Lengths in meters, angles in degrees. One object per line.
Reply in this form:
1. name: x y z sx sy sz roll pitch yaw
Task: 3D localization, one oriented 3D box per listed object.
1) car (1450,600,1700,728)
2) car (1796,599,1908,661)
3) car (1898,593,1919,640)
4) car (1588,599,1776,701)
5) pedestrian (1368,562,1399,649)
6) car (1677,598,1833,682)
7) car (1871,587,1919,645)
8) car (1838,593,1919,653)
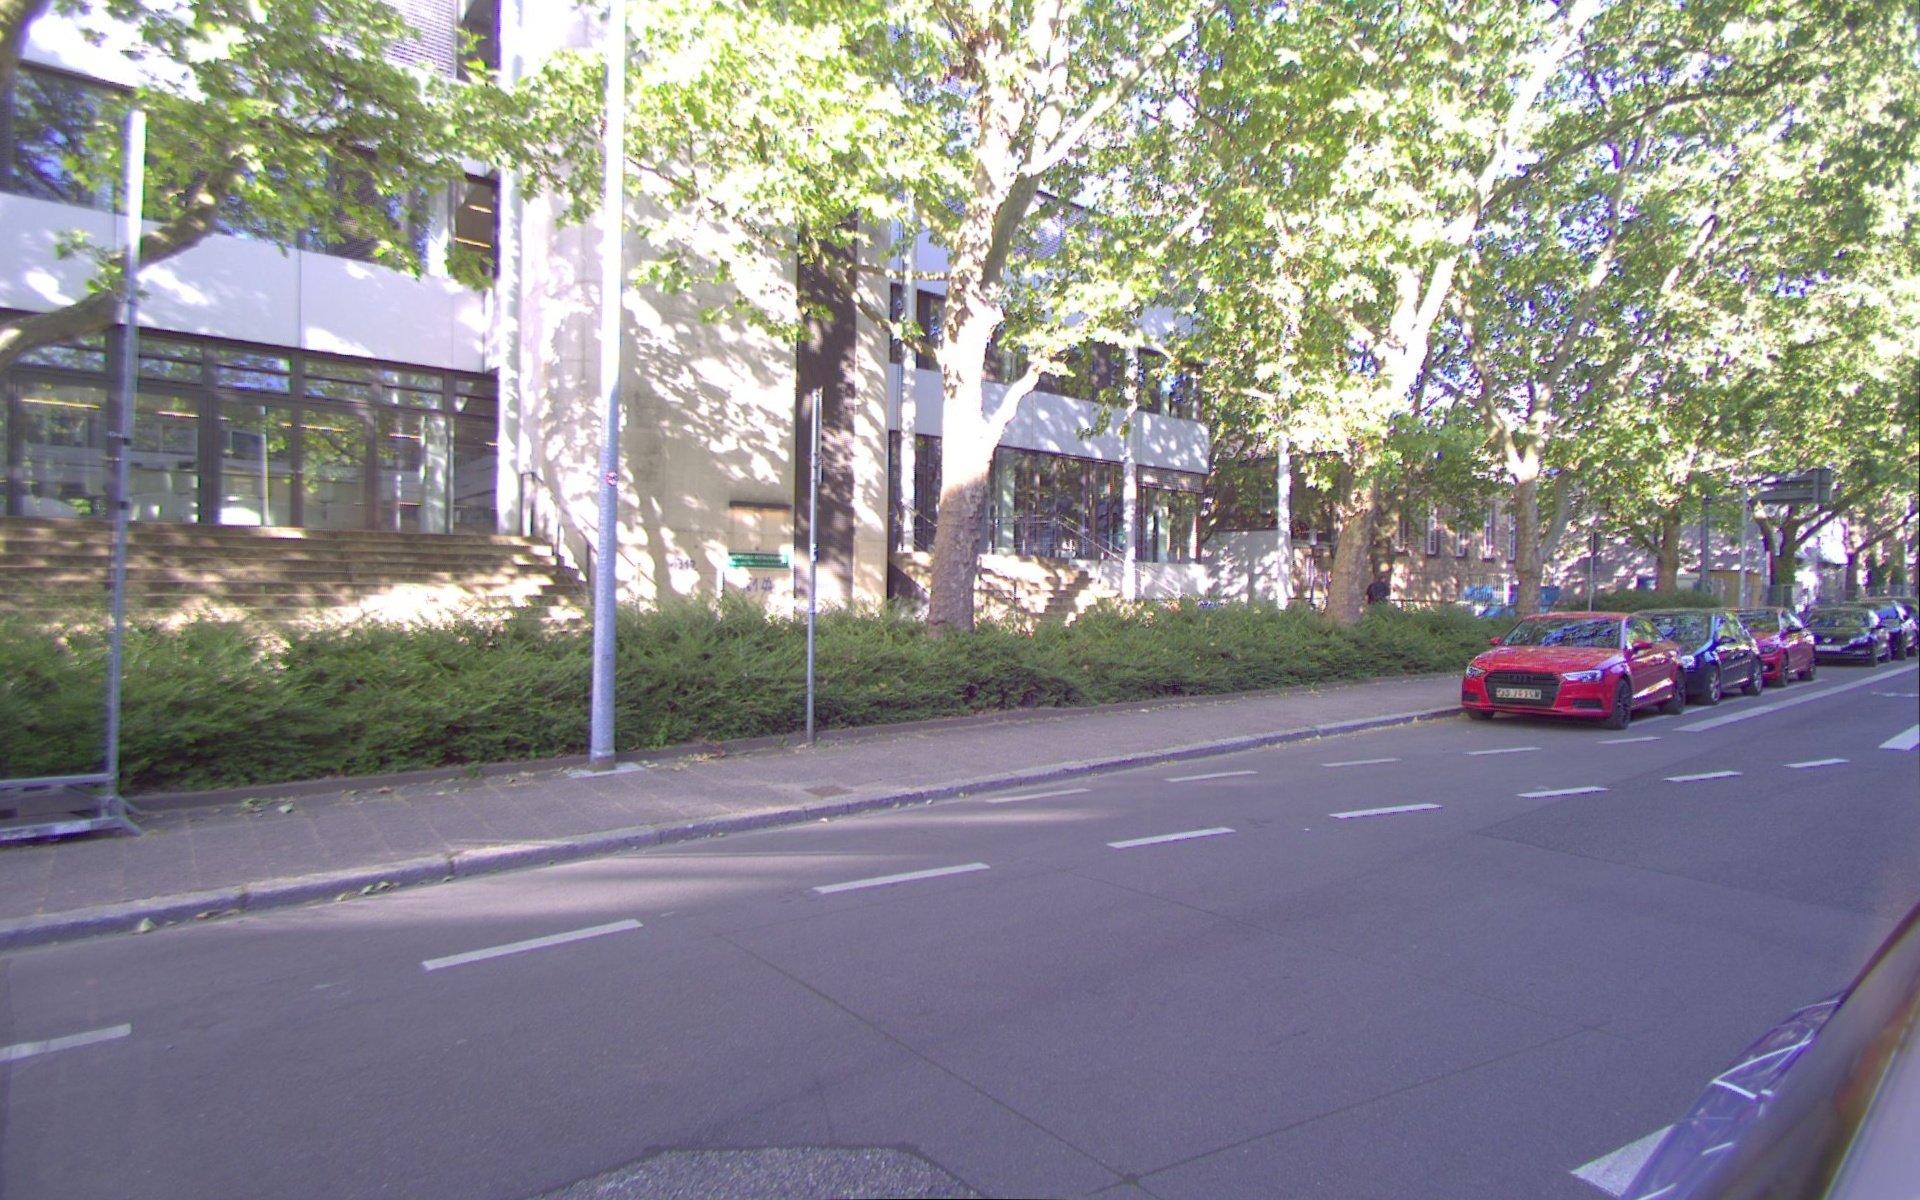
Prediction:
1. car: 8.293 0.734 13.515 3.931 1.409 1.792 -1 0 -42
2. car: 22.940 0.708 25.988 3.855 1.441 1.691 -1 0 -41
3. car: 35.527 0.569 36.785 4.497 1.633 1.632 -1 0 -41
4. car: 11.848 0.727 16.545 3.632 1.436 1.668 -1 0 -40
5. pedestrian: 10.091 0.120 24.131 0.549 2.039 0.555 0 0 38
6. car: 15.735 0.705 19.972 3.854 1.467 1.691 -1 0 -40
7. car: 31.163 0.469 33.014 4.497 1.814 1.632 -1 0 -41
8. car: 26.625 0.600 29.045 4.158 1.598 1.632 -1 0 -41
